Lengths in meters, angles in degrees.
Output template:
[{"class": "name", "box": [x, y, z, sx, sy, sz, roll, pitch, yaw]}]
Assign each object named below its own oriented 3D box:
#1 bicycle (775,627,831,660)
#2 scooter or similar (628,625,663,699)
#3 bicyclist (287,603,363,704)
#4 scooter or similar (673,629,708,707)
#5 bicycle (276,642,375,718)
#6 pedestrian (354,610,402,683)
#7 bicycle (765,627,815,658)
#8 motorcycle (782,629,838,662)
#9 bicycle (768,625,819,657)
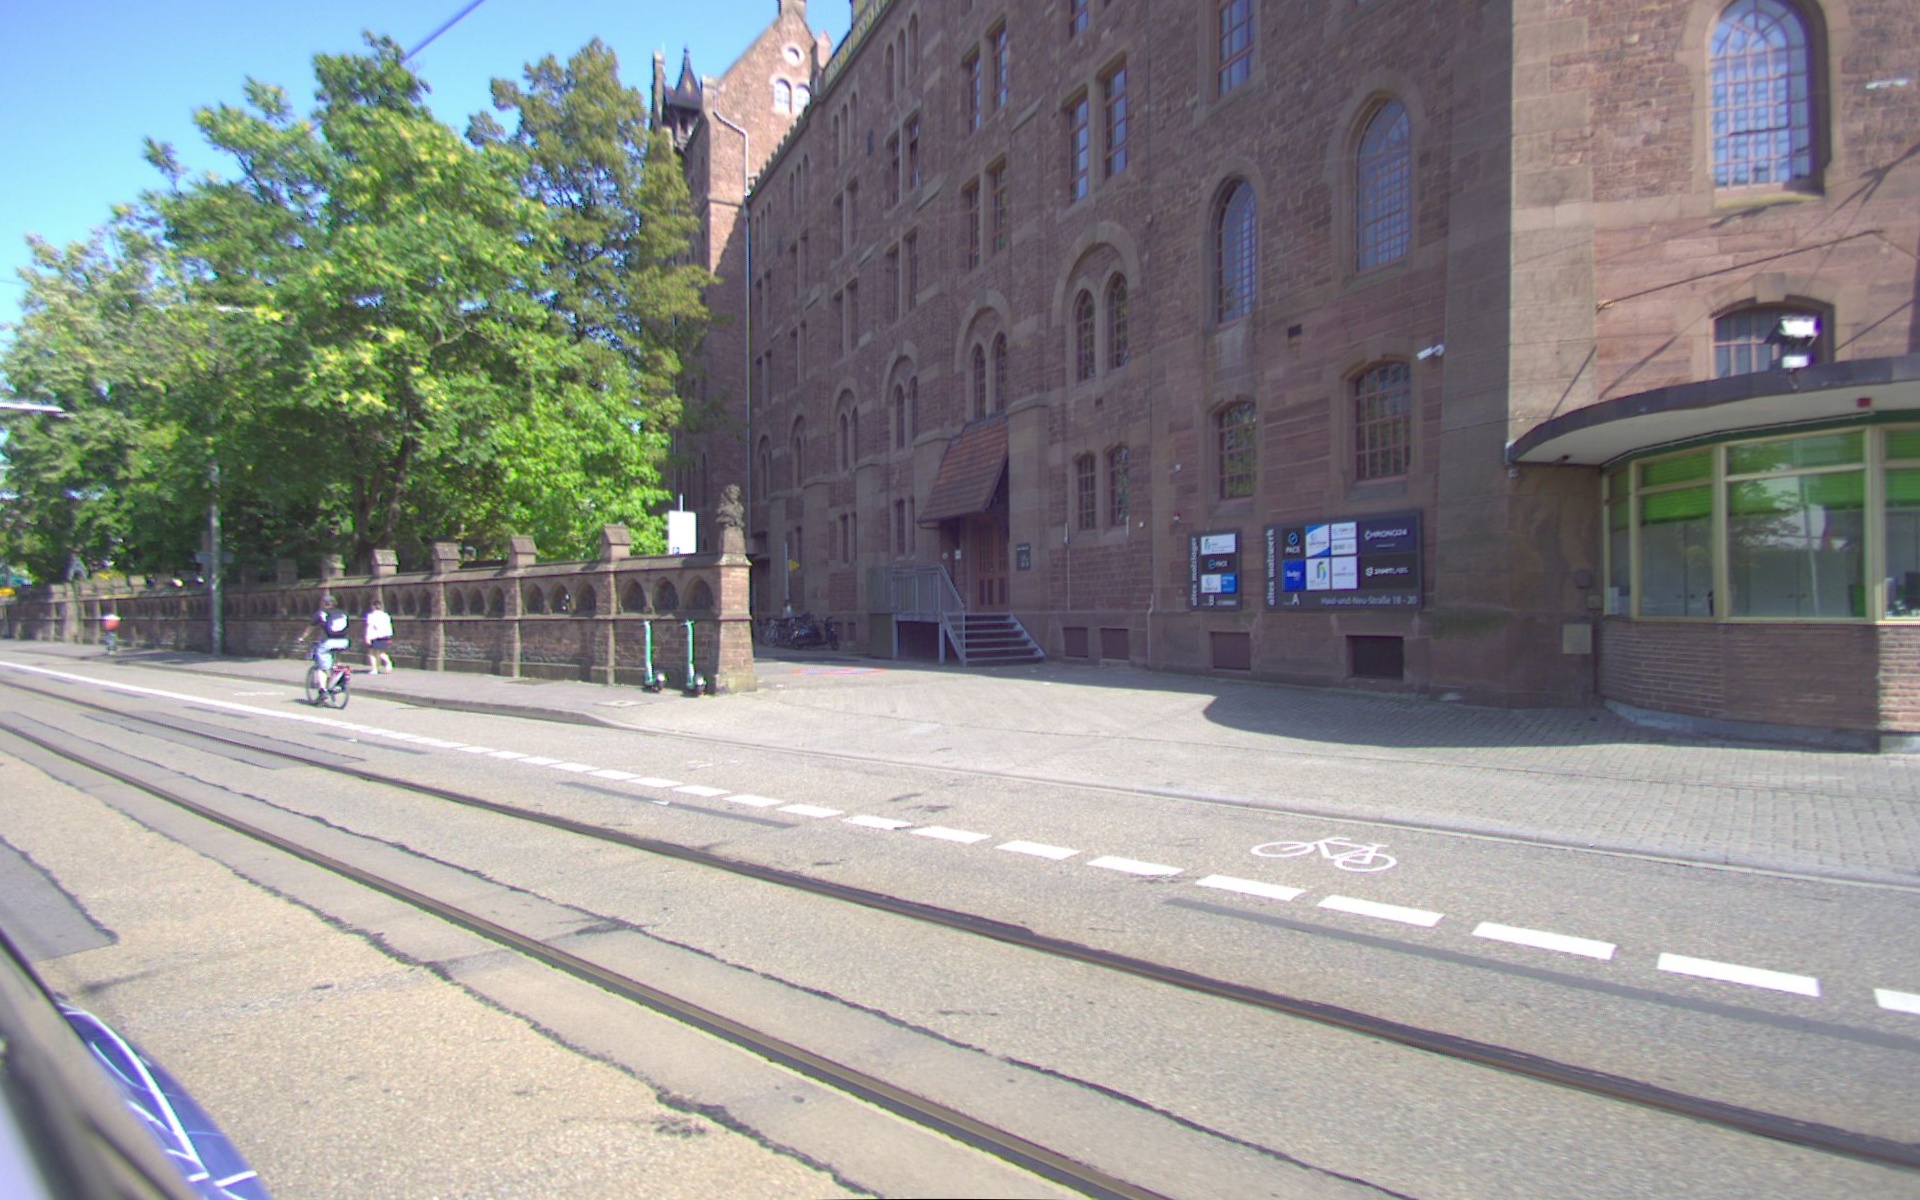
[{"class": "bicycle", "box": [-5.127, 1.411, 33.051, 1.747, 1.054, 0.666, 0, -1, -15]}, {"class": "scooter or similar", "box": [-5.230, 1.022, 16.849, 0.280, 1.157, 0.816, 0, 2, 3]}, {"class": "bicyclist", "box": [-10.415, 0.869, 16.598, 1.085, 1.592, 0.690, -1, -3, 37]}, {"class": "scooter or similar", "box": [-4.275, 1.060, 16.068, 0.280, 1.157, 0.816, 0, 2, 3]}, {"class": "bicycle", "box": [-10.388, 1.272, 16.546, 2.035, 1.167, 0.690, -1, -3, 38]}, {"class": "pedestrian", "box": [-13.038, 1.026, 22.673, 0.774, 1.601, 0.708, -1, -1, 39]}, {"class": "bicycle", "box": [-5.862, 1.450, 34.817, 1.636, 1.054, 0.567, 0, -1, -15]}, {"class": "motorcycle", "box": [-4.760, 1.434, 32.102, 1.669, 1.009, 0.584, 0, -1, -27]}, {"class": "bicycle", "box": [-5.601, 1.377, 34.025, 1.636, 1.054, 0.567, 0, -1, -15]}]
